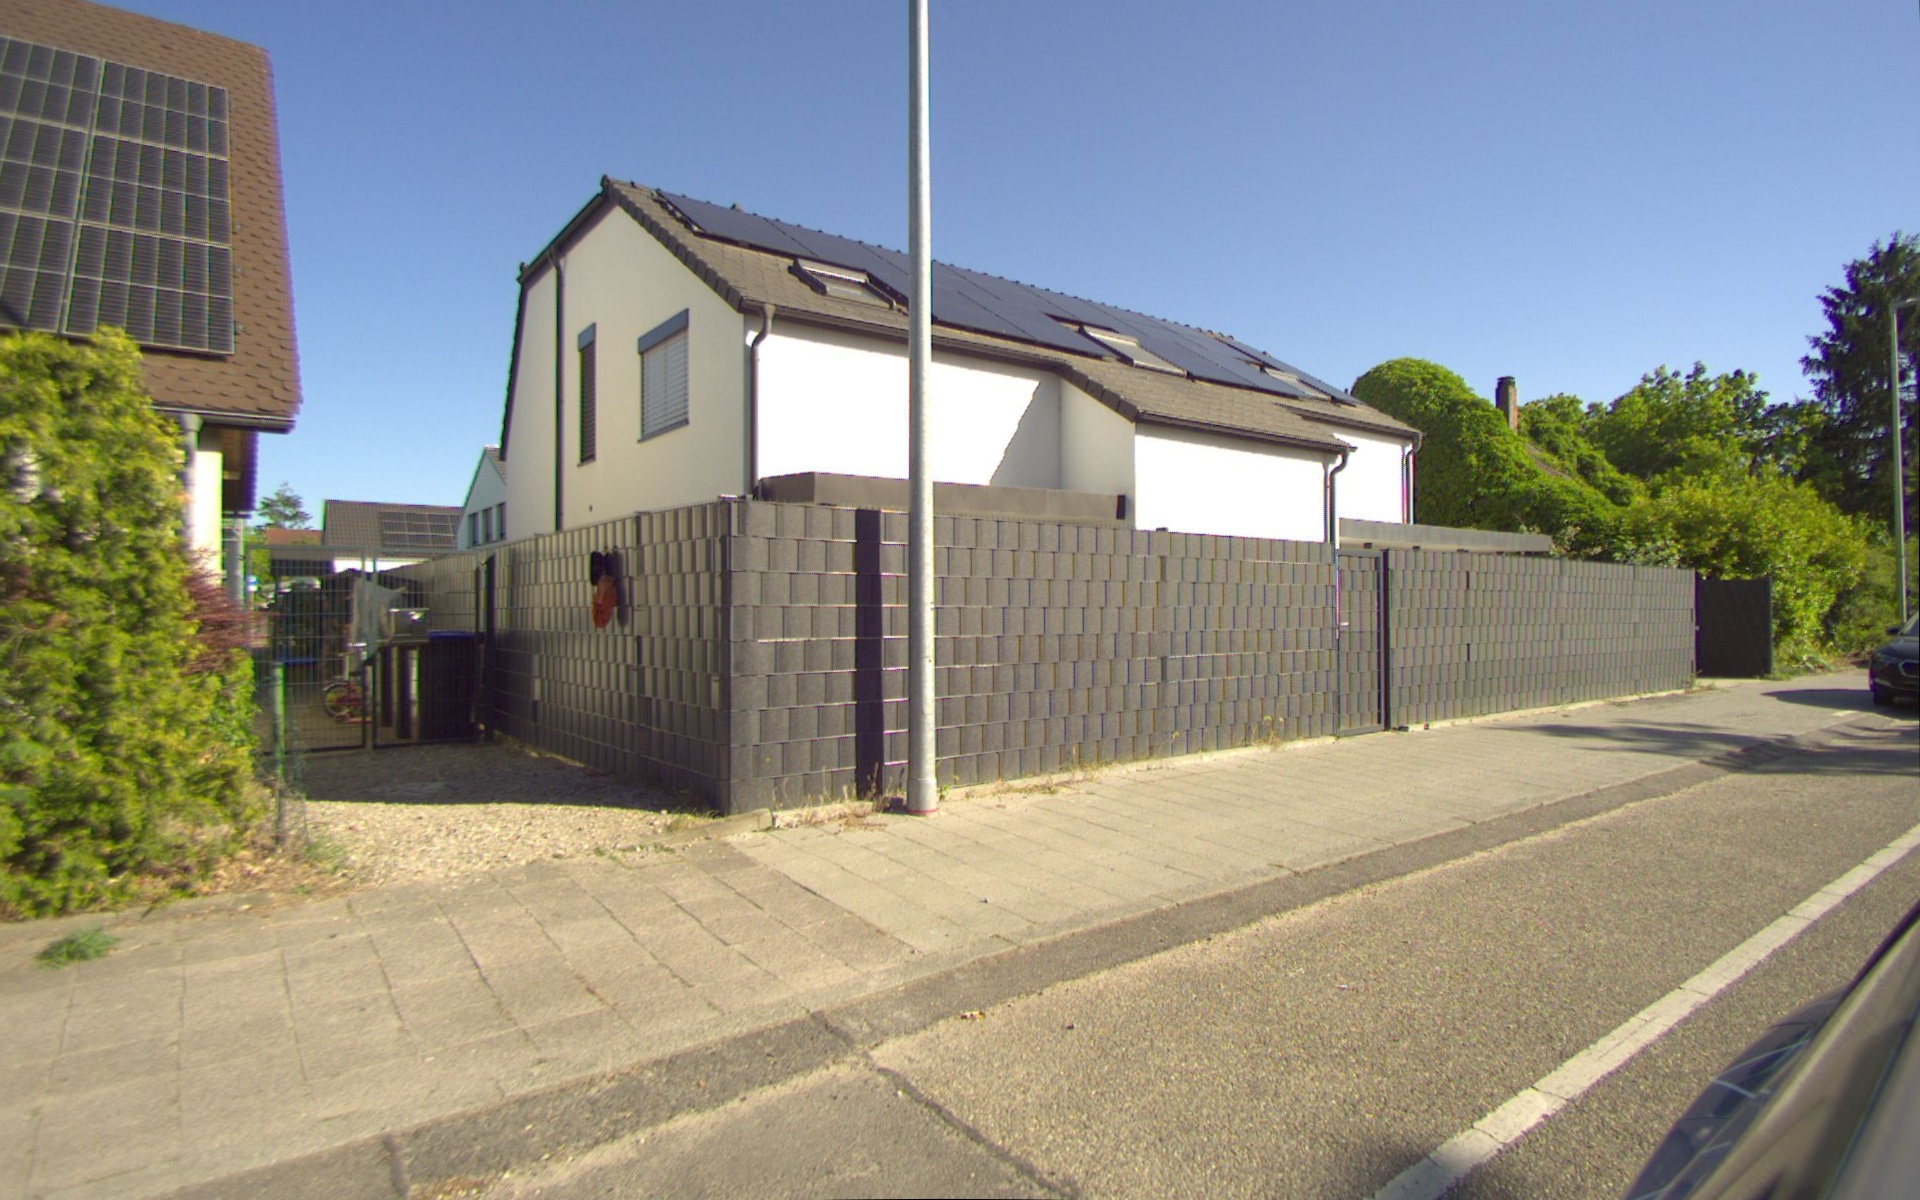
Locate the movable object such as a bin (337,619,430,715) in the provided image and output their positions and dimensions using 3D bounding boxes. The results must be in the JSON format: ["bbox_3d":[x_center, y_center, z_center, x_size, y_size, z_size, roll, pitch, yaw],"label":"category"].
[{"bbox_3d":[-7.076,0.794,12.420,0.833,1.100,0.953,0,-1,-40],"label":"movable object such as a bin"}]

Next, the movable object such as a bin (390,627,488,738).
[{"bbox_3d":[-5.102,0.777,9.906,0.698,1.013,0.804,0,-1,-40],"label":"movable object such as a bin"}]

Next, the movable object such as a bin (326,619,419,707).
[{"bbox_3d":[-7.848,0.812,13.504,0.891,1.100,1.118,0,-1,-40],"label":"movable object such as a bin"}]

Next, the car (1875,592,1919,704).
[{"bbox_3d":[15.005,0.651,14.613,4.899,1.499,1.770,0,1,-37],"label":"car"}]

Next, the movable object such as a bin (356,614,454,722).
[{"bbox_3d":[-6.221,0.736,11.338,0.791,1.132,0.948,0,-1,-40],"label":"movable object such as a bin"}]
